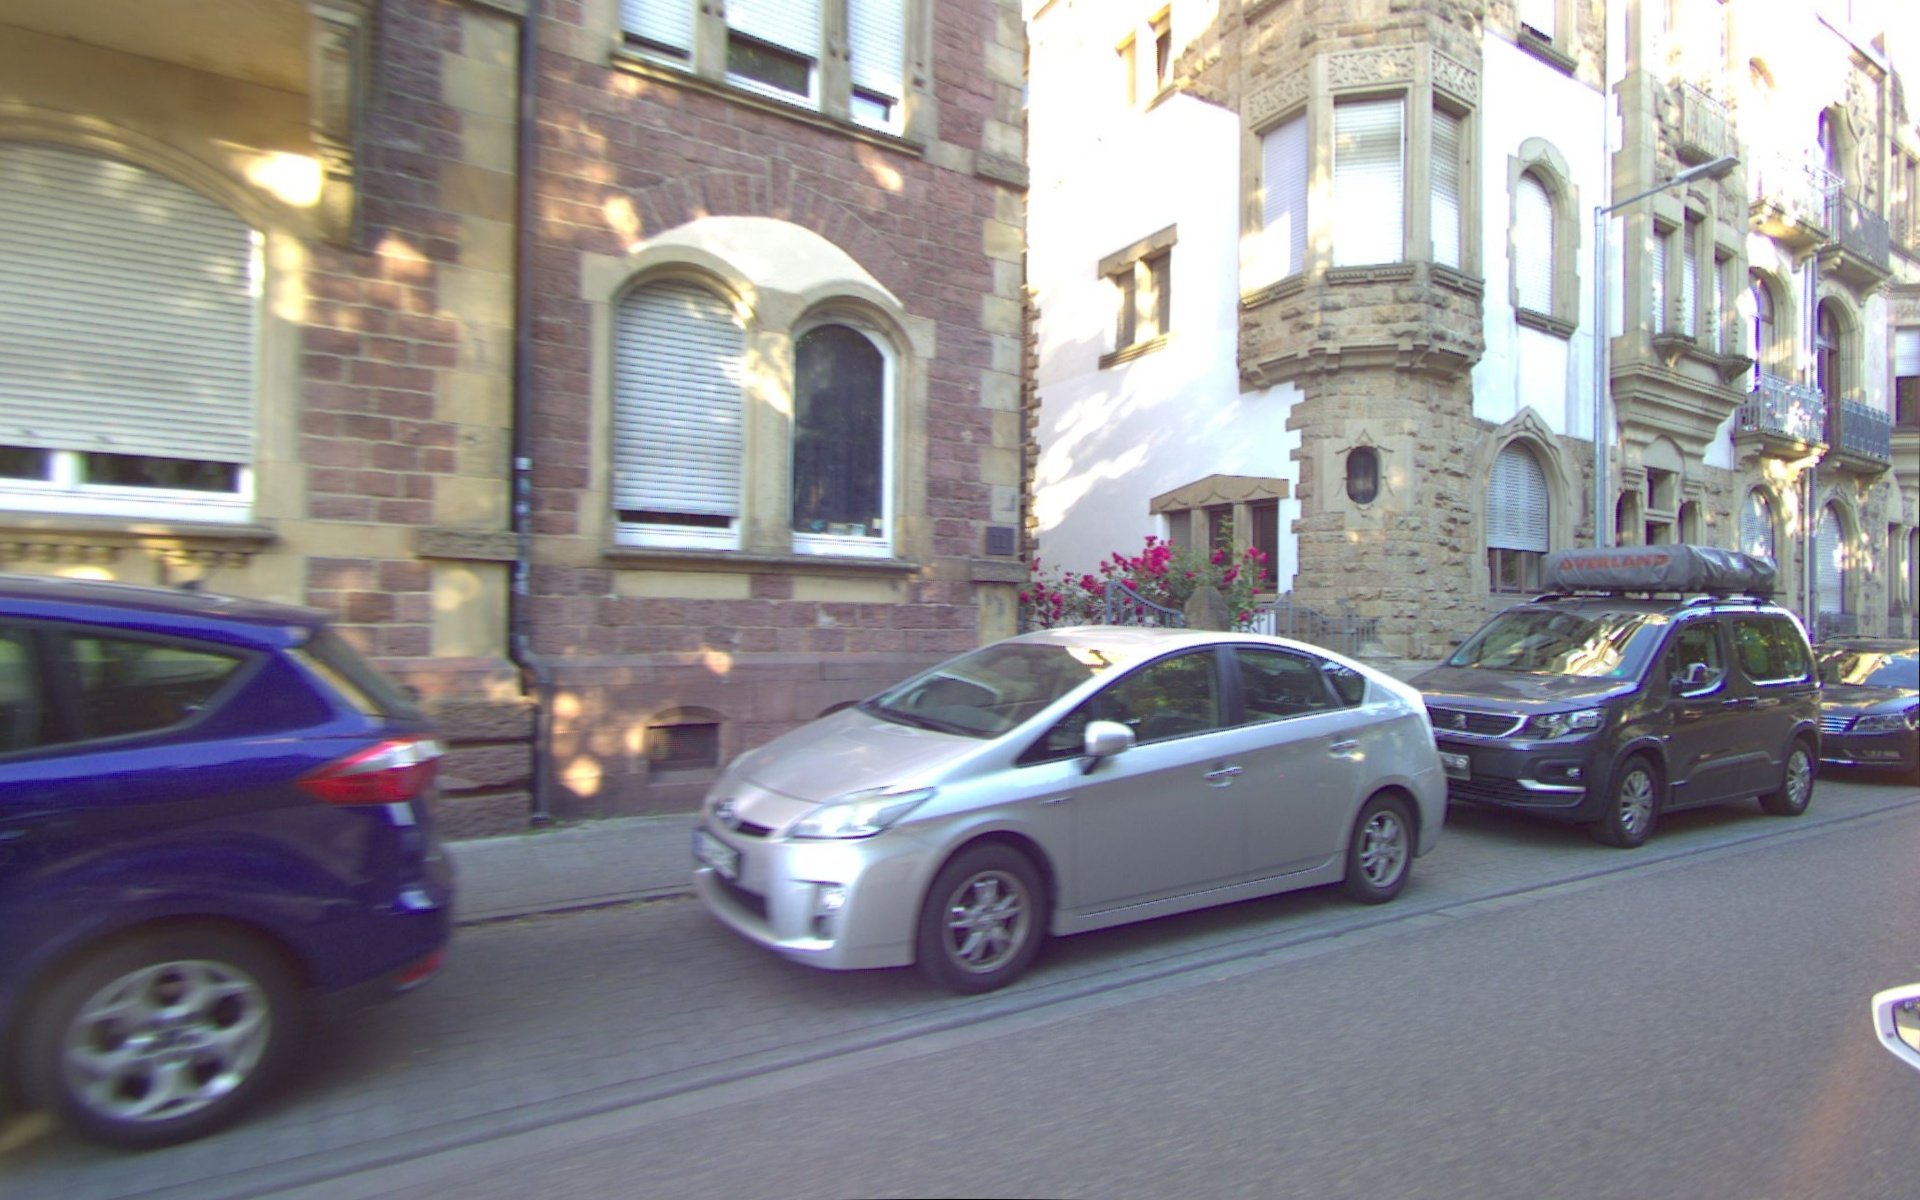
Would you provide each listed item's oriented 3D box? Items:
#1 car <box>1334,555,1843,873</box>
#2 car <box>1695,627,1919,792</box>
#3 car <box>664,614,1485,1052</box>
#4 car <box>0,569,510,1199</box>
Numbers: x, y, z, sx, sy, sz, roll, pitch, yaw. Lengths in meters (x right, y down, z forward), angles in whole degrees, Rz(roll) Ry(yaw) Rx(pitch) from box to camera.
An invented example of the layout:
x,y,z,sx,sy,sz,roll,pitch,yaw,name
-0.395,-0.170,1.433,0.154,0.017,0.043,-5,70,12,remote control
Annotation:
x,y,z,sx,sy,sz,roll,pitch,yaw,name
5.355,0.762,8.388,4.451,2.000,1.957,1,0,-34,car
10.700,1.187,11.743,4.654,1.595,1.721,3,-2,-31,car
0.836,0.876,5.498,4.408,1.519,1.719,1,0,-34,car
-3.677,0.721,2.784,4.214,1.643,1.719,1,0,-34,car
